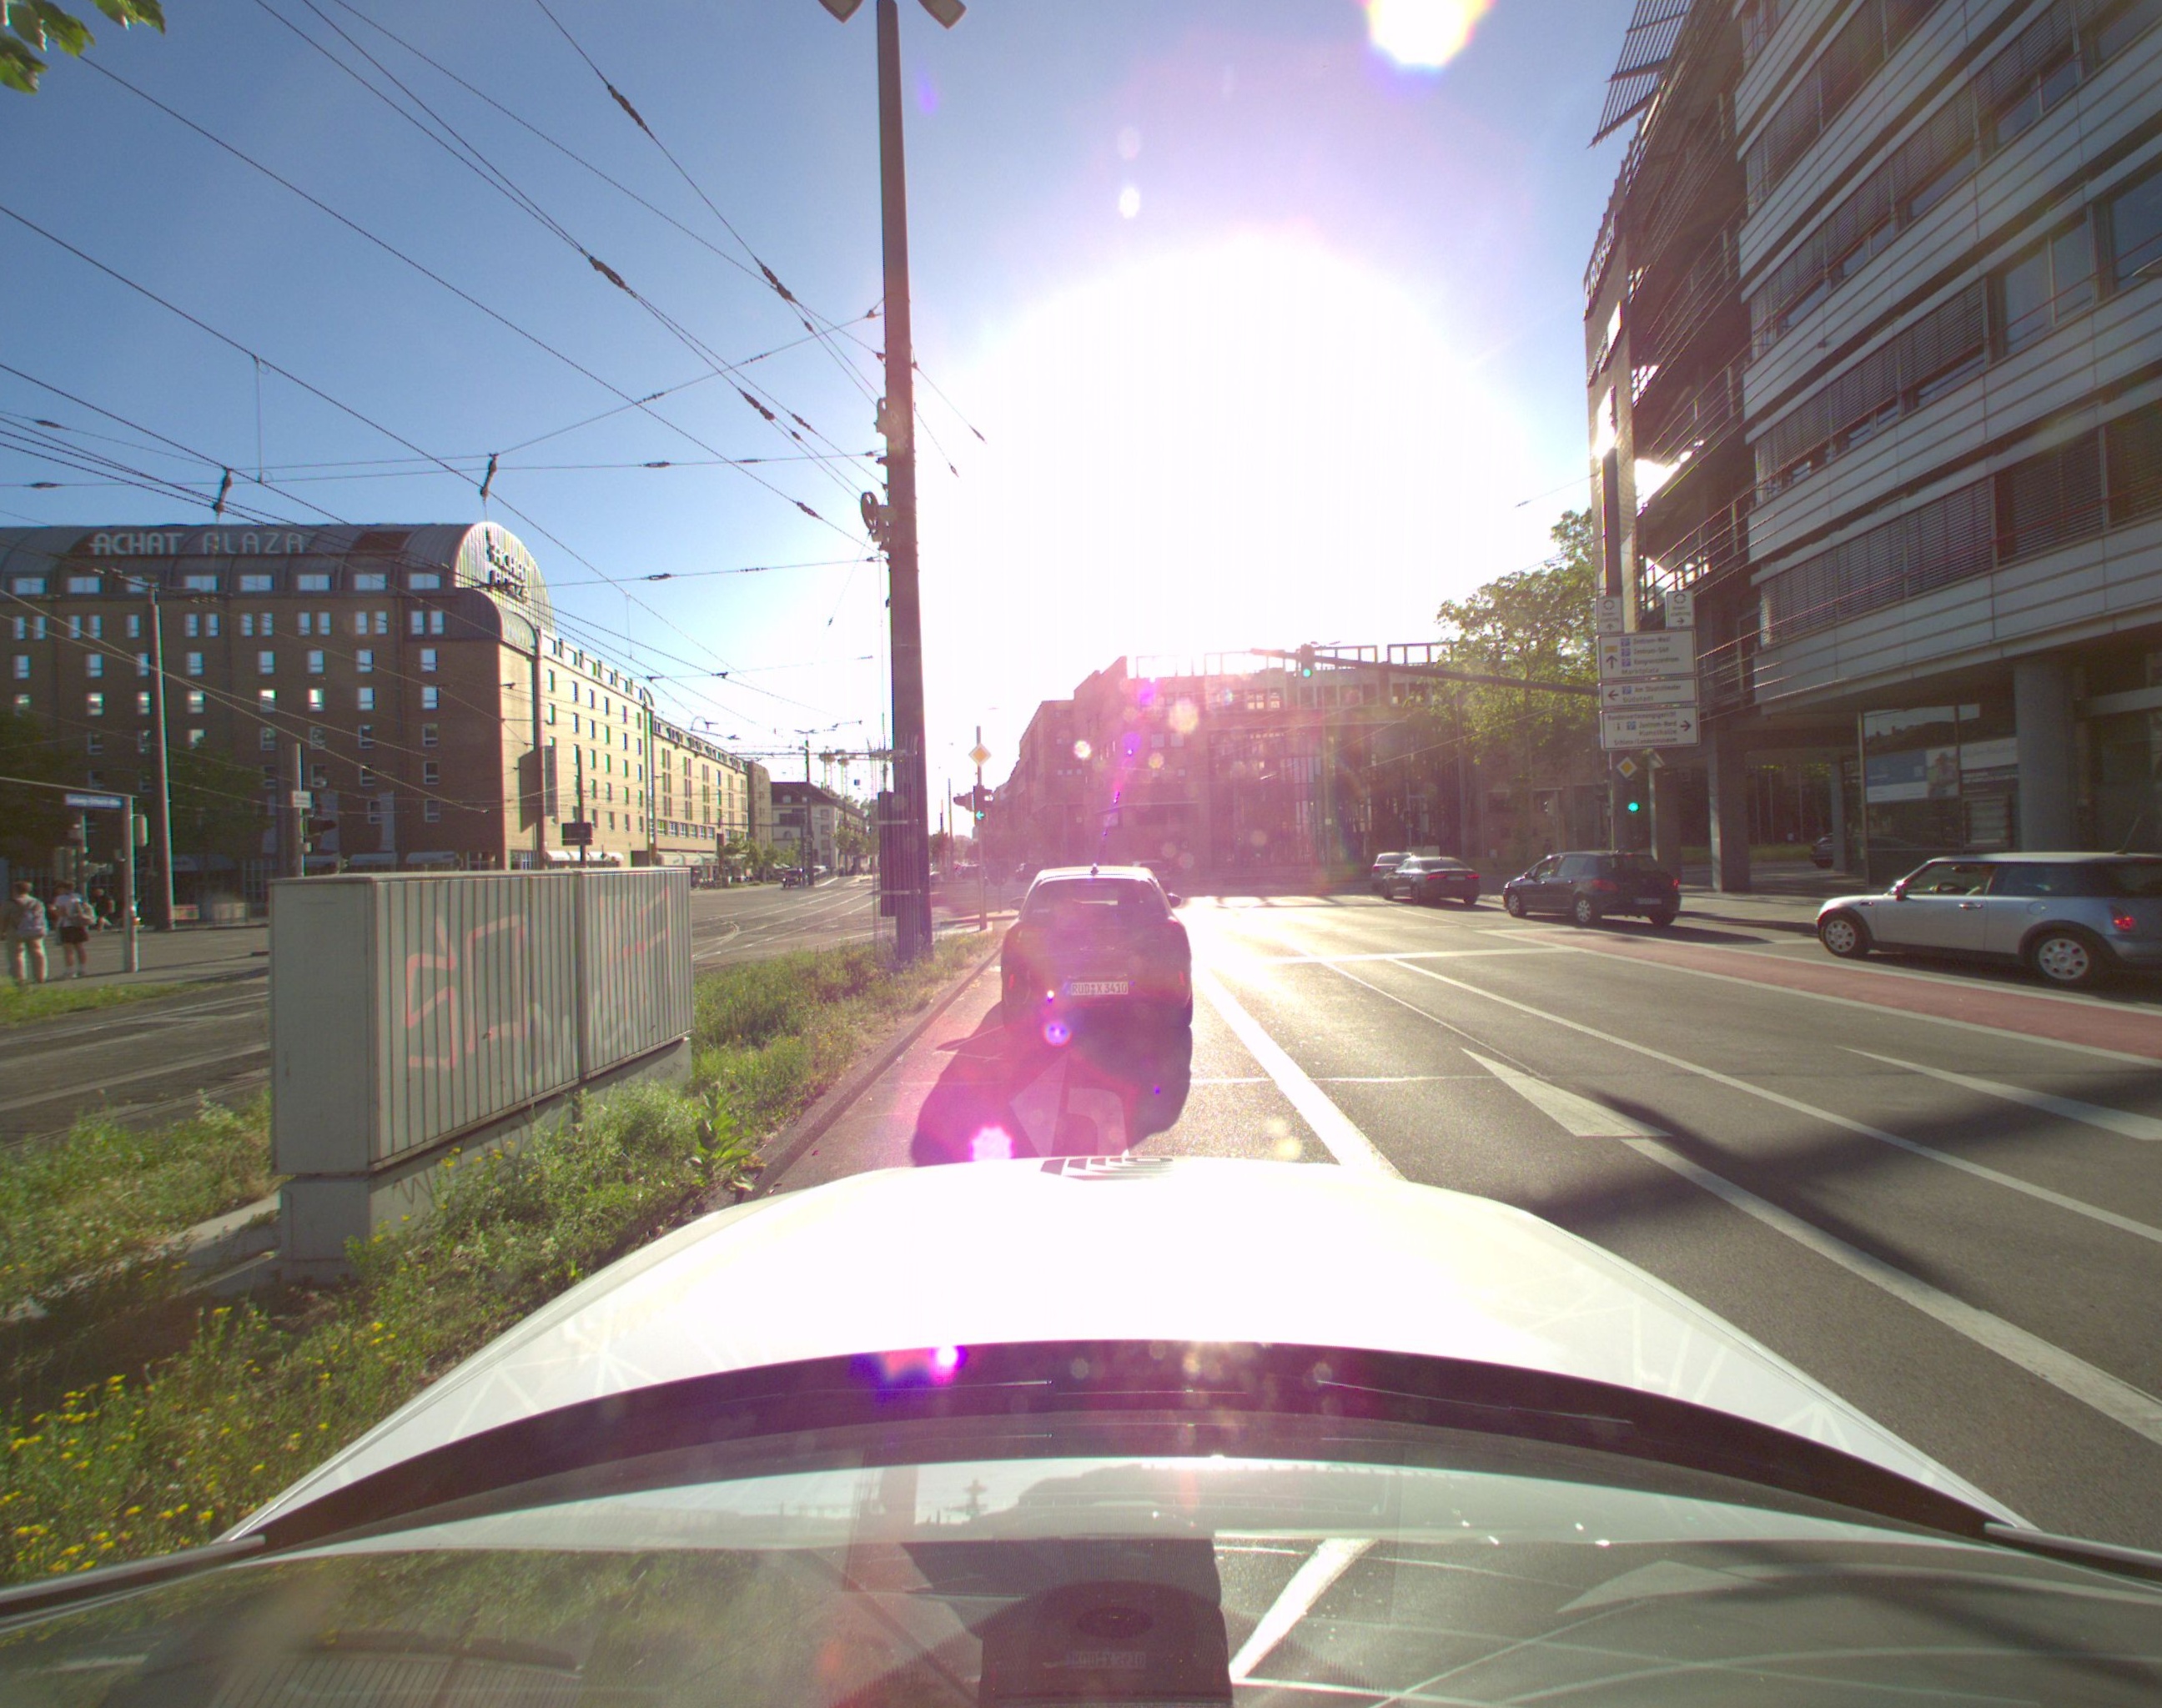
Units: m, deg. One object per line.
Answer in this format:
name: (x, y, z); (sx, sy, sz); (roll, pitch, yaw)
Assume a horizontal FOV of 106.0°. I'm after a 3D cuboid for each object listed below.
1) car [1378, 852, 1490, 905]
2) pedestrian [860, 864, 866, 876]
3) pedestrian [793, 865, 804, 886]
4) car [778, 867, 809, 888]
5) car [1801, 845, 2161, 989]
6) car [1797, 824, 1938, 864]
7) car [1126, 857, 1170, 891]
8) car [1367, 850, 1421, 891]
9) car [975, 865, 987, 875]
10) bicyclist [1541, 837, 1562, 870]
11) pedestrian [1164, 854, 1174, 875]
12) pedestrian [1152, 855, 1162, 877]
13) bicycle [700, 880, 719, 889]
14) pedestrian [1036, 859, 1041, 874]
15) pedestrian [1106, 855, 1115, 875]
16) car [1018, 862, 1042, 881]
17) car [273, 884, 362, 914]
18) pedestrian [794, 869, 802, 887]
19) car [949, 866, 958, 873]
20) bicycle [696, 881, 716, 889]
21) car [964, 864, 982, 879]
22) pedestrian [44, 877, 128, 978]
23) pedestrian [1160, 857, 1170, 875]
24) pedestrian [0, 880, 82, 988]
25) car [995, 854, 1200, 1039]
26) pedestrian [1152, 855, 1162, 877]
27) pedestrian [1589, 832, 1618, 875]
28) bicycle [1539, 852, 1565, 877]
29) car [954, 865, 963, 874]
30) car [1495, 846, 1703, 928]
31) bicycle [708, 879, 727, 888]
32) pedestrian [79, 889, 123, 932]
car: (10.677, 0.712, 24.922); (1.689, 1.440, 4.019); (-1, -1, 1)
pedestrian: (-30.982, 2.233, 115.722); (0.863, 1.670, 0.779); (-1, 0, -20)
pedestrian: (-24.157, 1.815, 69.751); (0.720, 1.727, 0.593); (-2, 0, -8)
car: (-27.946, 2.263, 79.312); (1.837, 1.836, 4.098); (-4, 0, -6)
car: (10.975, 0.612, 9.718); (1.655, 1.389, 3.537); (-1, 0, 1)
car: (32.630, -0.394, 33.878); (3.948, 1.475, 1.869); (-2, 0, 3)
car: (3.119, 0.914, 38.377); (1.556, 1.456, 3.427); (-2, 0, -3)
car: (12.348, 0.605, 32.001); (1.679, 1.475, 4.005); (-2, 0, 24)
car: (-15.410, 2.479, 125.306); (1.720, 1.453, 3.686); (-3, 0, -9)
bicyclist: (20.780, -0.035, 35.956); (0.658, 1.407, 0.821); (-1, 1, 39)
pedestrian: (7.409, 0.886, 68.611); (0.573, 1.786, 0.546); (-3, -1, -17)
pedestrian: (6.280, 0.990, 67.143); (0.573, 1.786, 0.546); (-3, -1, -17)
bicycle: (-43.093, 3.501, 94.448); (2.026, 0.921, 0.483); (-3, 0, 1)
pedestrian: (-5.356, 1.583, 101.533); (0.547, 1.786, 0.572); (-2, 2, -7)
pedestrian: (2.762, 1.022, 75.903); (0.641, 1.786, 0.685); (-3, -1, -12)
car: (-4.326, 1.467, 69.126); (1.671, 1.453, 3.686); (-3, 0, -9)
car: (-46.289, 2.725, 49.405); (3.836, 1.601, 1.615); (-2, 0, 0)
pedestrian: (-24.898, 2.094, 71.715); (0.583, 1.577, 0.642); (-2, -1, -23)
car: (-26.053, 3.174, 166.165); (1.516, 1.453, 3.570); (-3, 0, -11)
bicycle: (-42.829, 3.515, 93.089); (2.026, 0.845, 0.483); (-3, 0, 1)
car: (-11.509, 1.850, 86.406); (1.720, 1.453, 3.686); (-3, 0, -9)
pedestrian: (-19.202, 1.402, 15.737); (0.729, 1.869, 0.673); (-2, 0, -2)
pedestrian: (7.201, 1.046, 69.832); (0.550, 1.477, 0.568); (-2, 0, -27)
pedestrian: (-19.016, 1.438, 14.822); (0.729, 1.869, 0.699); (-2, 0, 1)
car: (0.194, 0.763, 8.521); (1.665, 1.502, 3.692); (-1, 0, 2)
pedestrian: (6.335, 0.965, 67.843); (0.573, 1.786, 0.546); (-3, -1, -17)
pedestrian: (21.033, -0.022, 32.772); (0.786, 1.734, 0.588); (-1, -1, 9)
bicycle: (20.845, 0.446, 36.025); (0.658, 1.018, 2.199); (-1, 2, 39)
car: (-22.827, 2.899, 151.780); (1.516, 1.453, 3.570); (-3, 0, -11)
car: (10.801, 0.626, 17.373); (1.855, 1.475, 3.976); (-2, 0, 0)
bicycle: (-42.690, 3.489, 95.630); (2.026, 0.921, 0.483); (-3, 0, 1)
pedestrian: (-40.918, 2.337, 34.001); (0.711, 1.680, 0.832); (-2, 1, 2)
